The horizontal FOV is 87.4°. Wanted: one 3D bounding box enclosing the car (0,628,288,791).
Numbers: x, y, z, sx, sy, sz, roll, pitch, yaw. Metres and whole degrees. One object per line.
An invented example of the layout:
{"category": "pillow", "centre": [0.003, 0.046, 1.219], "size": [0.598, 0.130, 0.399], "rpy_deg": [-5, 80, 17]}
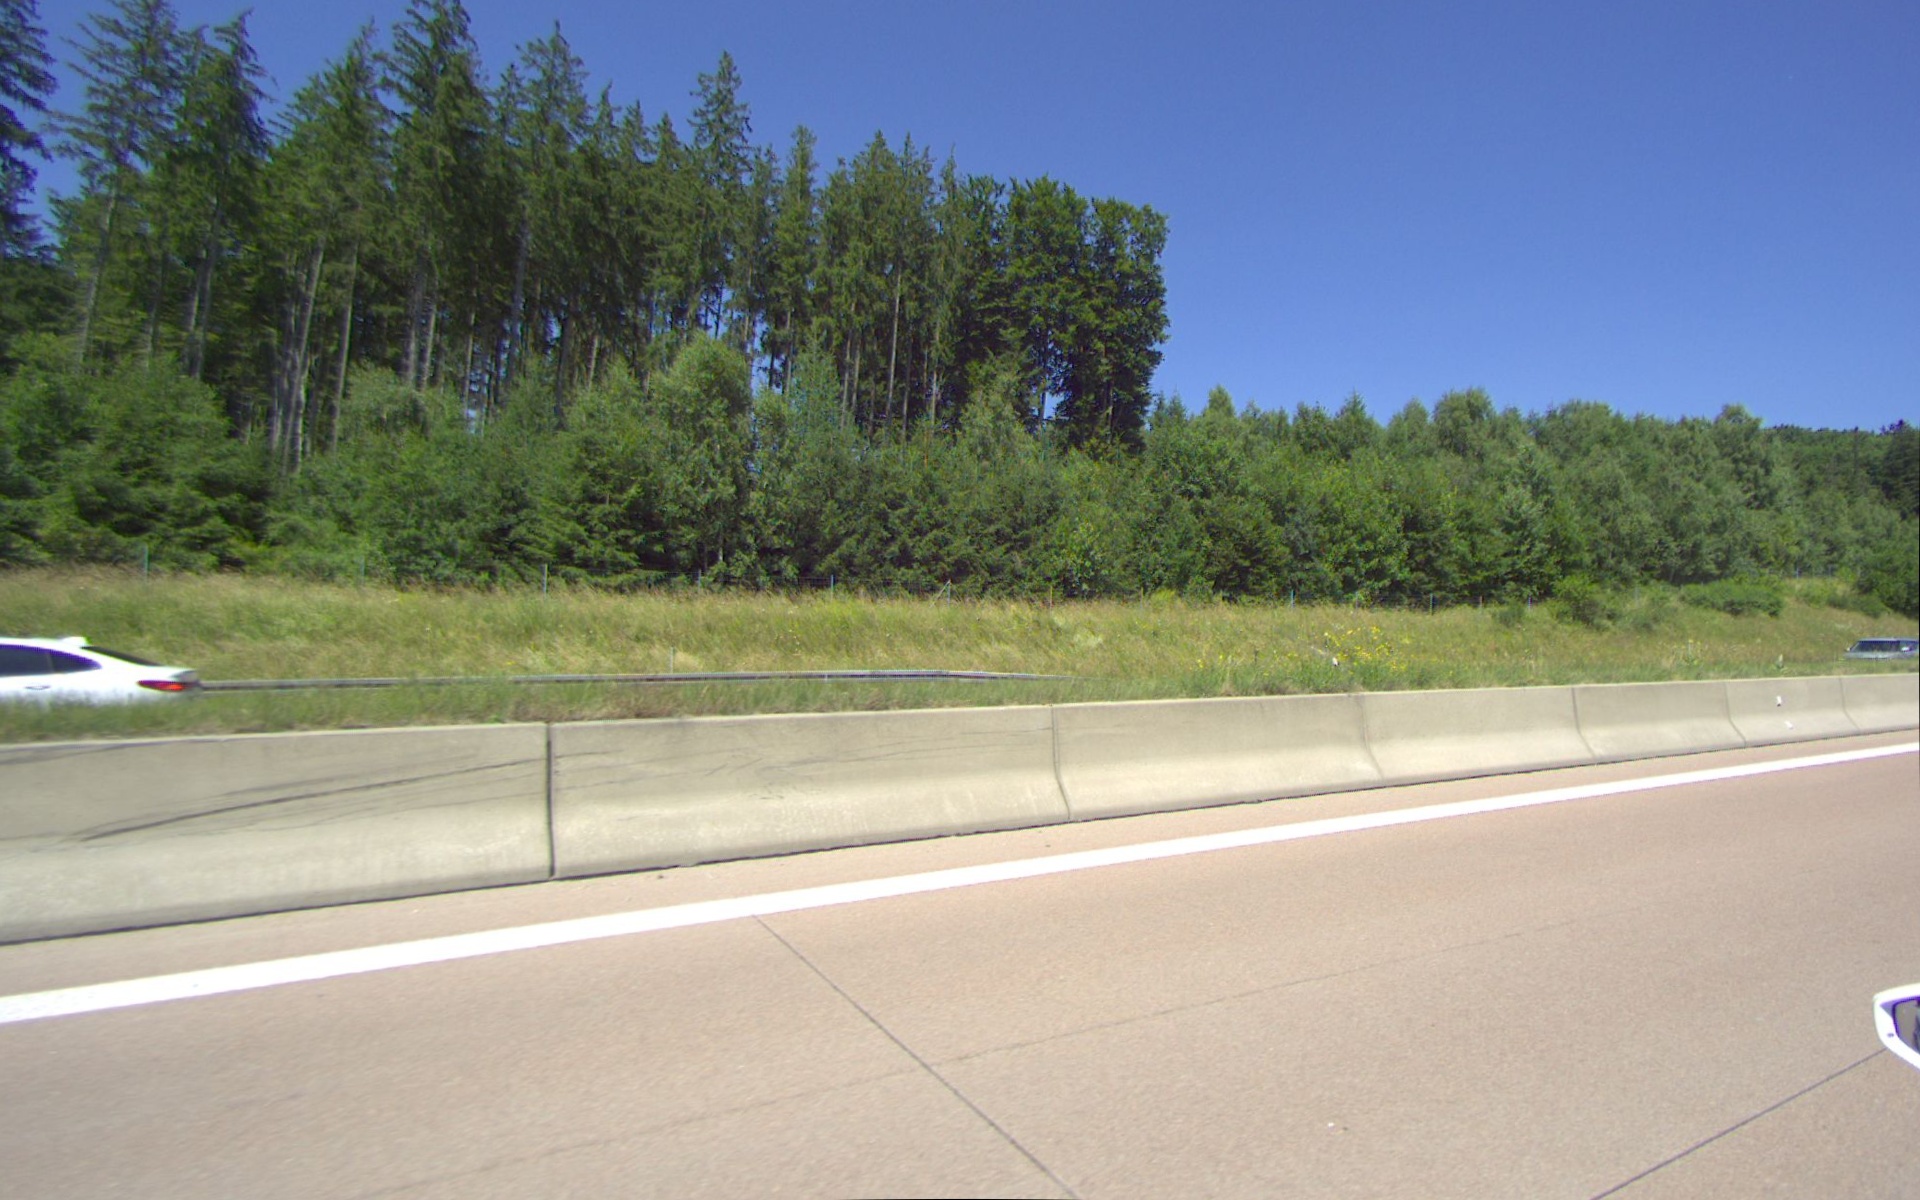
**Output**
{"category": "car", "centre": [-10.137, 1.134, 11.044], "size": [4.411, 1.615, 1.882], "rpy_deg": [1, -1, -30]}

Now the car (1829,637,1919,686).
{"category": "car", "centre": [35.942, 2.355, 39.203], "size": [4.414, 1.761, 1.880], "rpy_deg": [1, -1, -32]}
